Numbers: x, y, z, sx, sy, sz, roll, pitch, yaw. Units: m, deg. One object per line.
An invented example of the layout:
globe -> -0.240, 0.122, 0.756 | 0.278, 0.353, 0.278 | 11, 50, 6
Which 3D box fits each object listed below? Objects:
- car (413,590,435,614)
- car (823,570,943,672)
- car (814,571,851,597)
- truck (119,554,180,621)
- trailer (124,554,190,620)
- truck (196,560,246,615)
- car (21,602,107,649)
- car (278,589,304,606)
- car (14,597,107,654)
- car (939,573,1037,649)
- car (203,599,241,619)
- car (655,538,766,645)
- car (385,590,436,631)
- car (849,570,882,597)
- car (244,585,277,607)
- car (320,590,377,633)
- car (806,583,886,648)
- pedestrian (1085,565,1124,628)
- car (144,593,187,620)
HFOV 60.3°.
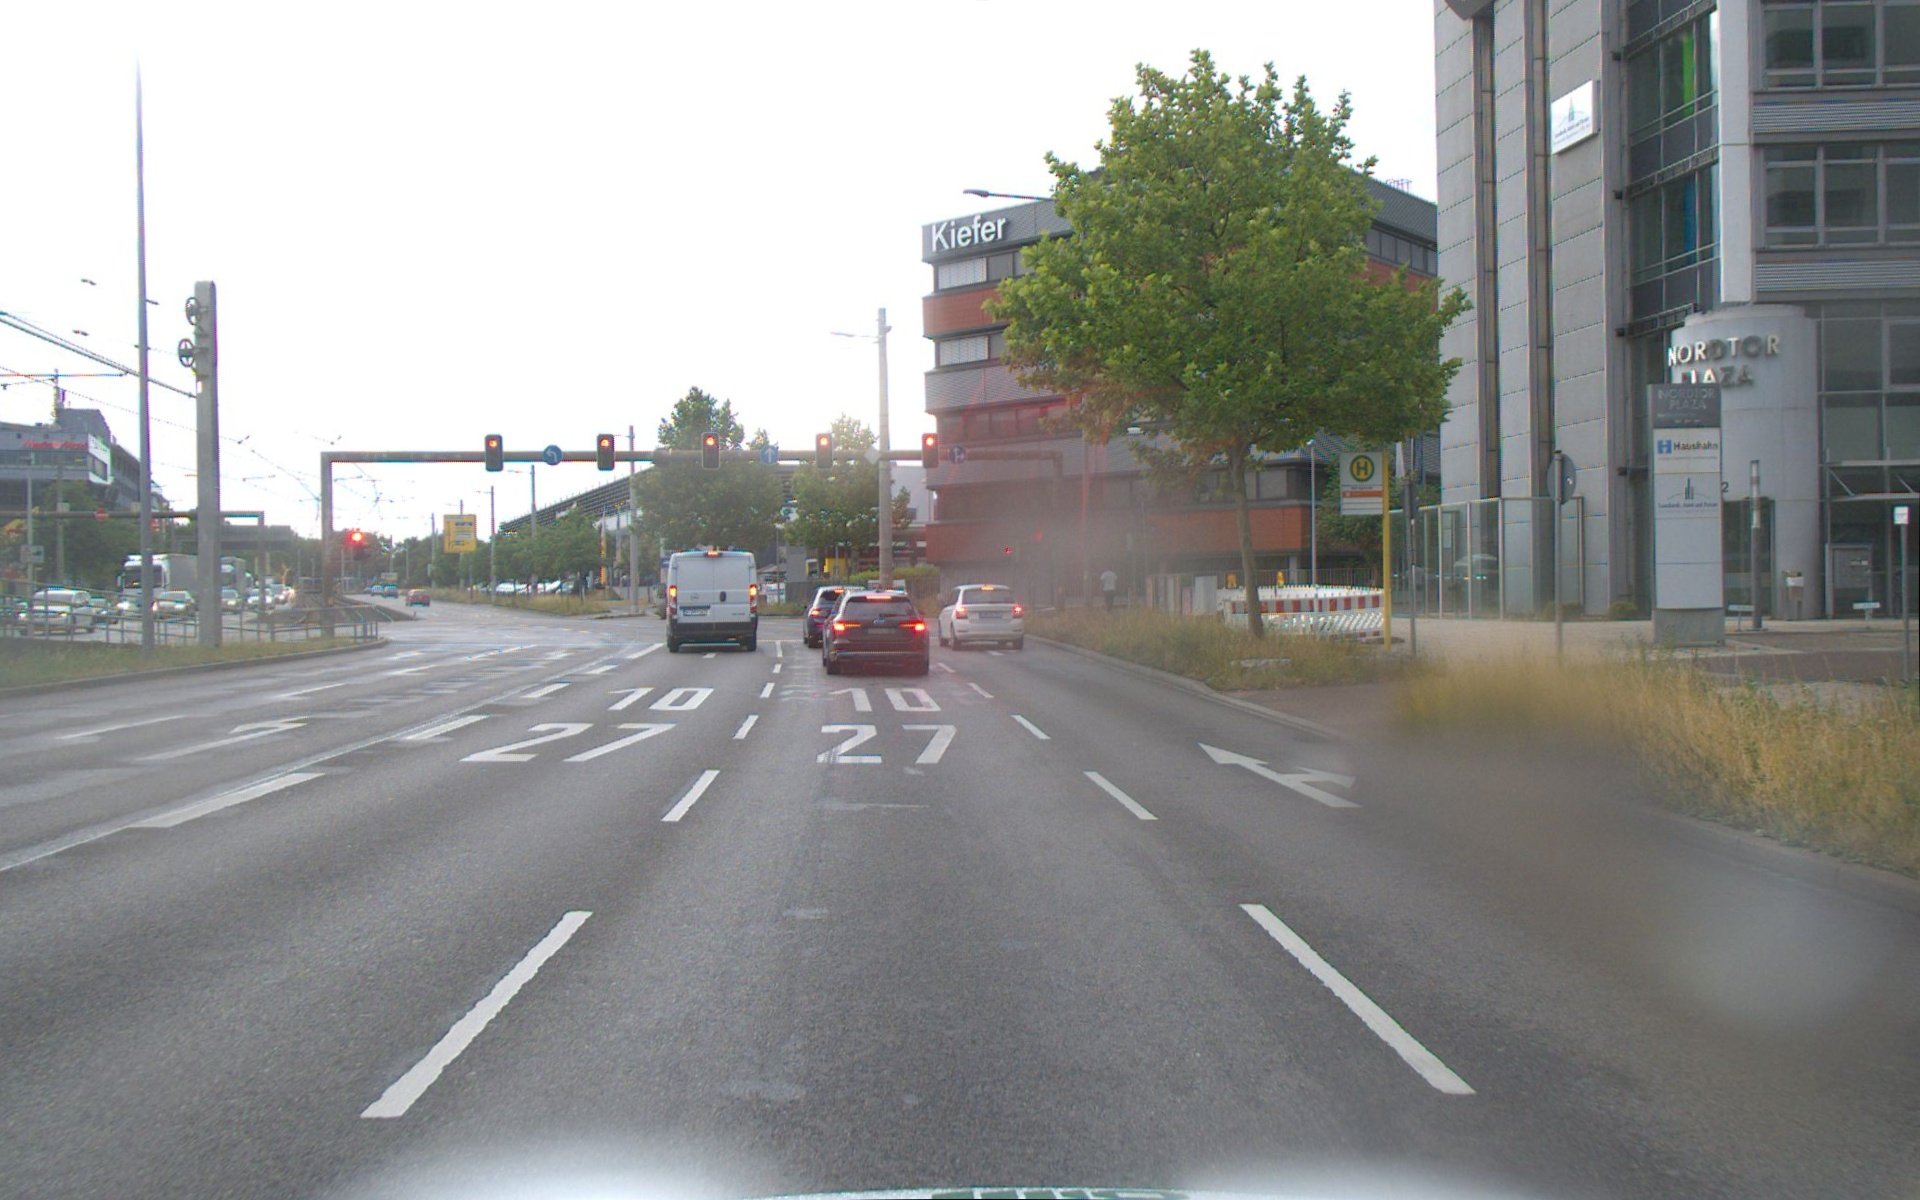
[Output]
car -> -47.977, 0.168, 147.979 | 1.746, 2.049, 4.322 | 1, -1, -20
car -> -1.434, 0.362, 29.230 | 1.955, 1.666, 3.996 | 0, -1, -5
car -> -10.648, -1.330, 138.366 | 1.847, 2.049, 3.743 | 1, -1, -26
truck -> -51.701, -0.806, 105.576 | 2.790, 4.065, 5.951 | -1, 1, -20
trailer -> -53.415, -0.877, 110.252 | 2.754, 4.179, 11.373 | -1, 1, -20
truck -> -58.726, -0.964, 131.503 | 2.622, 4.202, 6.160 | -1, 0, -15
car -> -33.822, 0.961, 62.553 | 1.500, 1.696, 4.259 | 1, -1, -10
car -> -64.200, -0.206, 158.804 | 1.873, 1.582, 4.544 | 1, 0, -17
car -> -34.005, 0.966, 62.614 | 1.740, 2.049, 4.337 | 1, -1, -10
car -> 0.600, 0.254, 38.833 | 1.794, 1.685, 3.994 | 0, -1, -6
car -> -50.462, 0.633, 113.189 | 1.878, 1.286, 4.391 | 1, -1, -18
car -> -6.011, -0.166, 39.336 | 2.401, 2.334, 4.891 | 1, -1, -11
car -> -29.027, 0.526, 87.485 | 1.740, 2.049, 4.339 | 1, 0, -8
car -> -7.469, -1.277, 130.288 | 1.652, 2.049, 3.116 | 1, -1, -22
car -> -55.557, -0.327, 131.415 | 1.856, 1.681, 4.077 | 1, -1, -16
car -> -30.413, 0.551, 82.358 | 1.740, 2.049, 4.339 | 1, 0, -8
car -> -2.808, 0.377, 40.991 | 1.856, 1.491, 3.906 | -1, 0, -4
pedestrian -> 5.064, -0.135, 58.051 | 1.121, 2.162, 1.221 | -2, 2, -5
car -> -45.283, 0.360, 94.341 | 1.713, 1.488, 4.129 | 1, -1, -19
